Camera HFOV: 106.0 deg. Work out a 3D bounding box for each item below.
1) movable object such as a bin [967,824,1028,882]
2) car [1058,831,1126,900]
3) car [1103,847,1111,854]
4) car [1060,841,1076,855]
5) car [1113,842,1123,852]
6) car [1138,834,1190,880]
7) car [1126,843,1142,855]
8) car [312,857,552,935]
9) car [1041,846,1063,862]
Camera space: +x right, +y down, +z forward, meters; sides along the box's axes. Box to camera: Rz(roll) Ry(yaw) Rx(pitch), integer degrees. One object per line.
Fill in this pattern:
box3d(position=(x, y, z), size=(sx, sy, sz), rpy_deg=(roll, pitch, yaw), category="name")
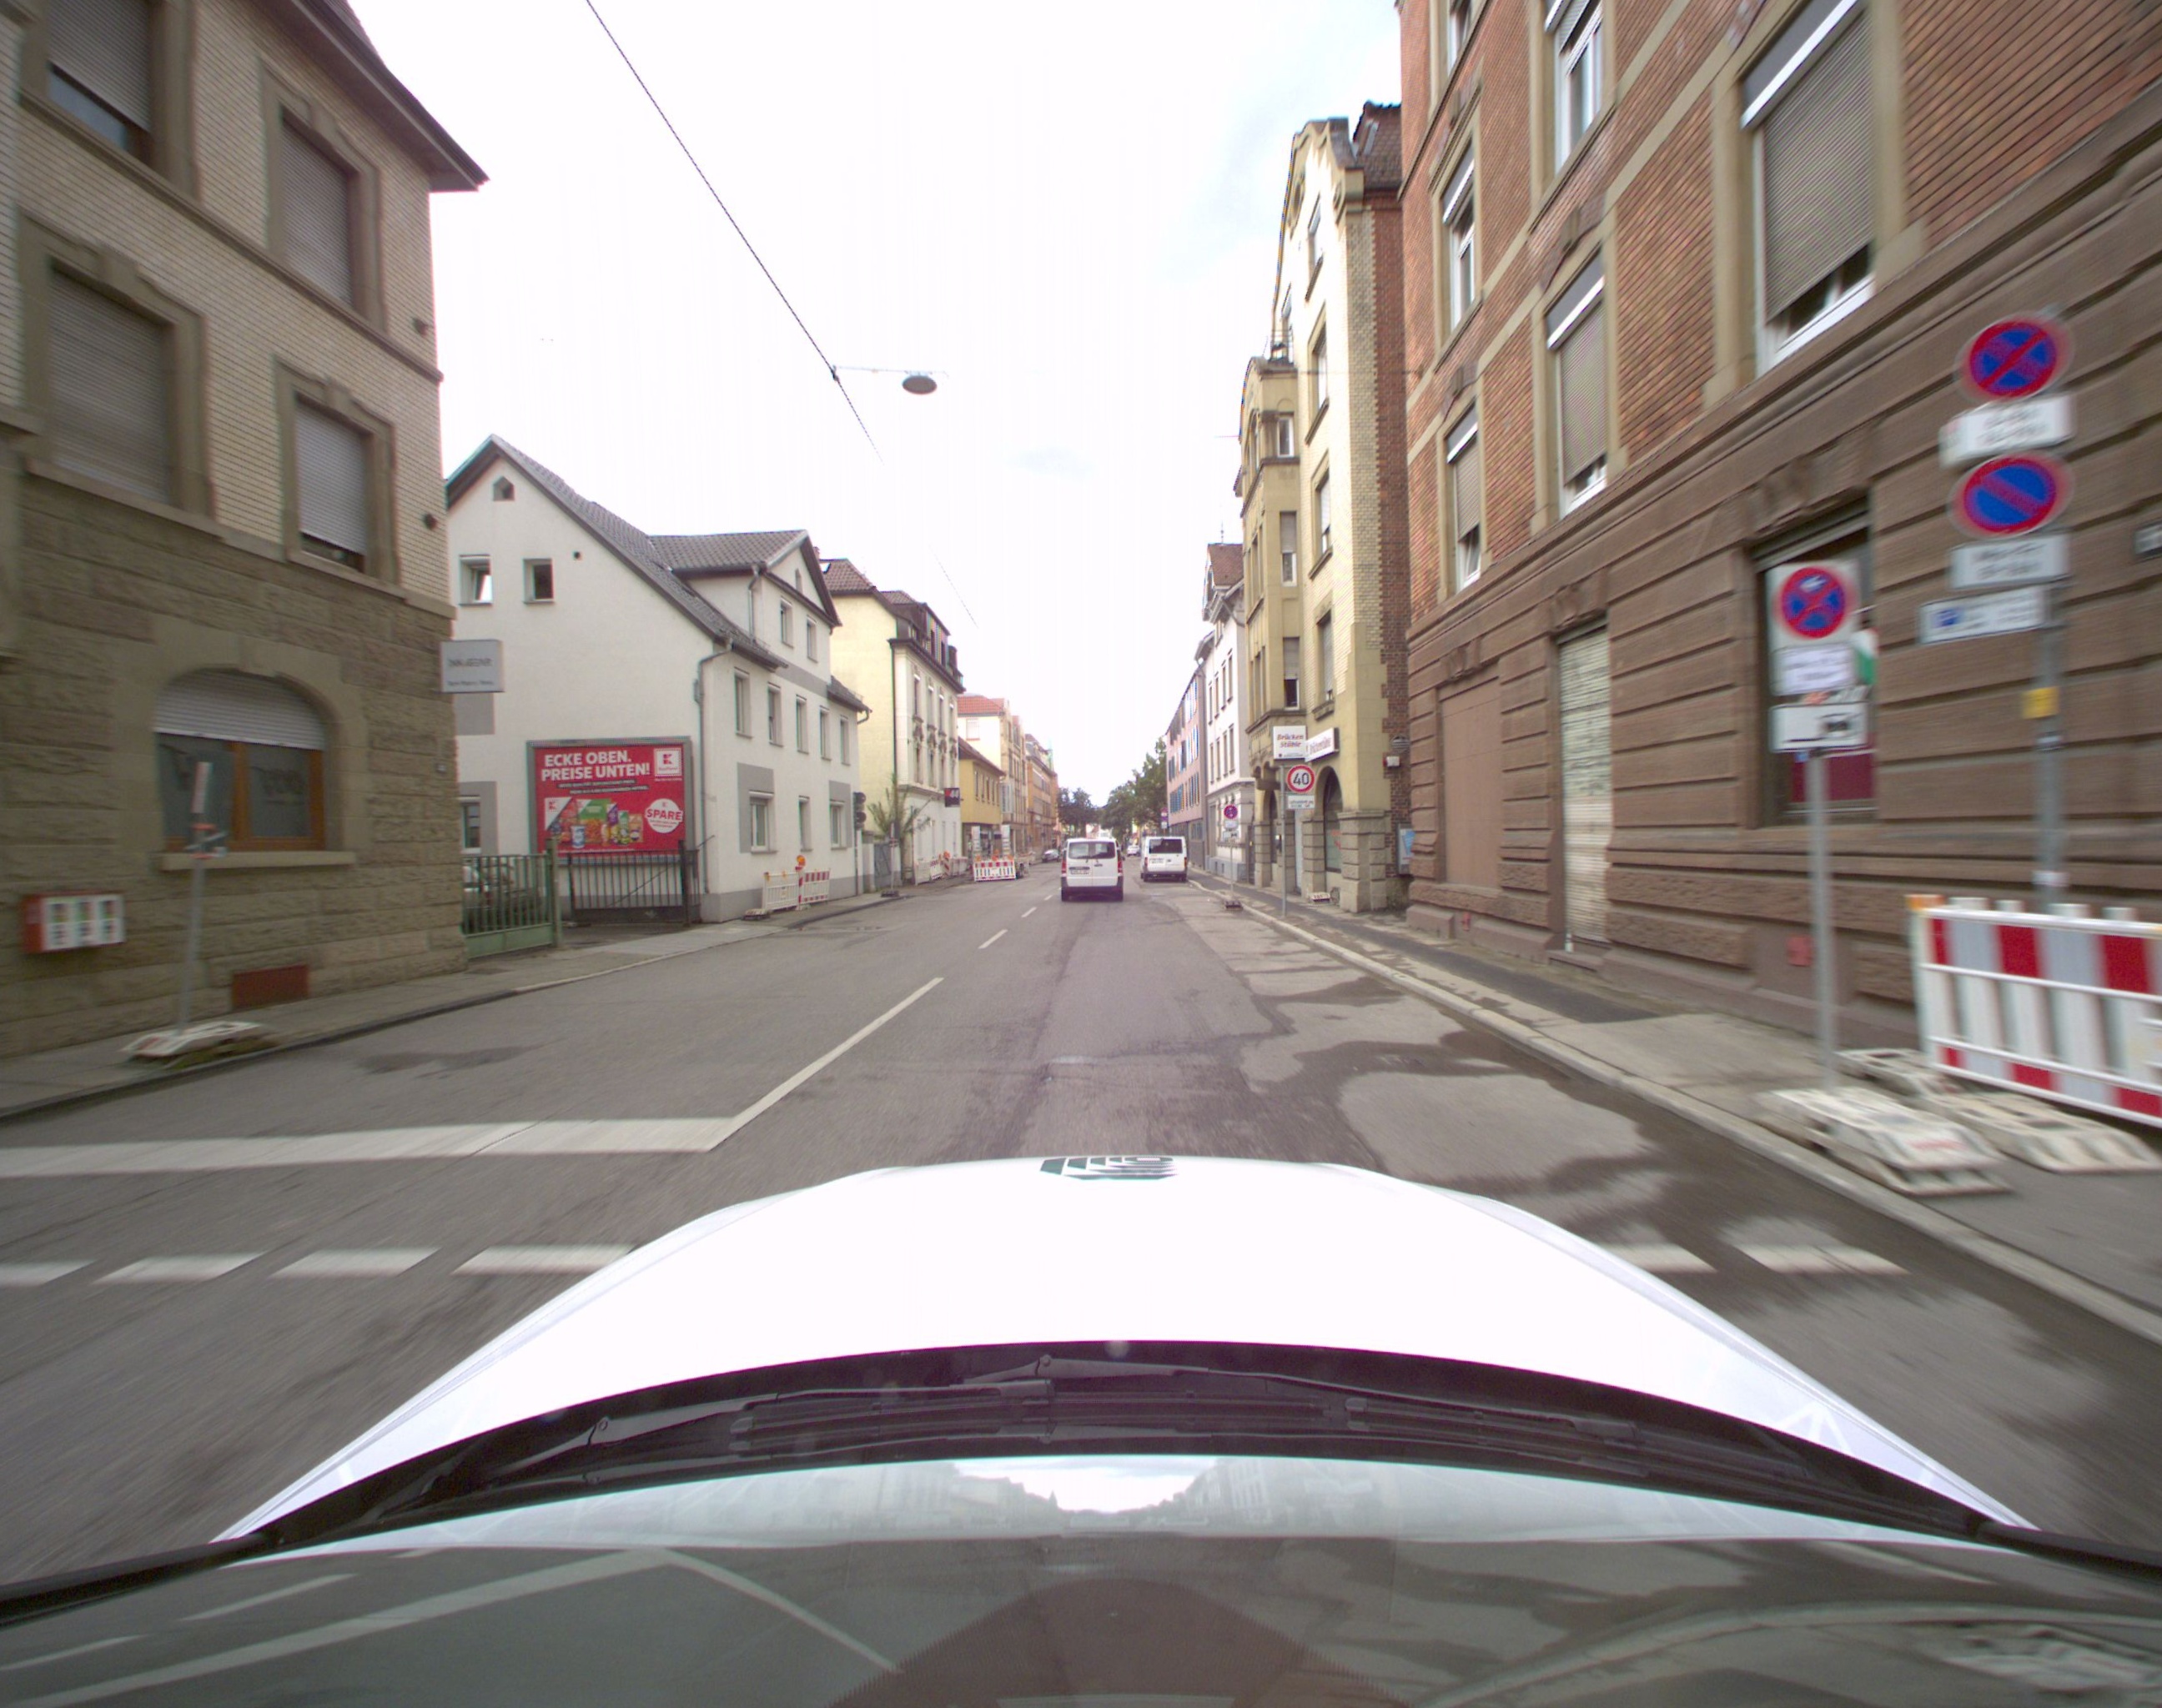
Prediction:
box3d(position=(-4.433, -0.060, 43.919), size=(2.528, 2.825, 4.541), rpy_deg=(-3, 1, 2), category="movable object such as a bin")
box3d(position=(0.266, 0.346, 25.783), size=(1.886, 1.929, 4.642), rpy_deg=(-2, 0, -2), category="car")
box3d(position=(6.563, -0.865, 203.386), size=(1.746, 1.673, 3.672), rpy_deg=(-2, 0, 3), category="car")
box3d(position=(-1.746, -0.855, 109.152), size=(1.986, 1.741, 4.002), rpy_deg=(2, 1, 1), category="car")
box3d(position=(8.273, -1.593, 180.309), size=(1.985, 2.013, 4.004), rpy_deg=(-2, 0, 4), category="car")
box3d(position=(3.826, 0.111, 38.271), size=(2.120, 2.004, 4.929), rpy_deg=(0, 1, 2), category="car")
box3d(position=(7.084, -0.646, 108.925), size=(1.986, 1.485, 4.002), rpy_deg=(2, 1, 2), category="car")
box3d(position=(-14.234, 0.893, 18.001), size=(3.898, 1.571, 1.800), rpy_deg=(-1, 0, 3), category="car")
box3d(position=(-2.994, -0.018, 84.361), size=(1.986, 1.442, 4.002), rpy_deg=(-3, 1, 2), category="car")
